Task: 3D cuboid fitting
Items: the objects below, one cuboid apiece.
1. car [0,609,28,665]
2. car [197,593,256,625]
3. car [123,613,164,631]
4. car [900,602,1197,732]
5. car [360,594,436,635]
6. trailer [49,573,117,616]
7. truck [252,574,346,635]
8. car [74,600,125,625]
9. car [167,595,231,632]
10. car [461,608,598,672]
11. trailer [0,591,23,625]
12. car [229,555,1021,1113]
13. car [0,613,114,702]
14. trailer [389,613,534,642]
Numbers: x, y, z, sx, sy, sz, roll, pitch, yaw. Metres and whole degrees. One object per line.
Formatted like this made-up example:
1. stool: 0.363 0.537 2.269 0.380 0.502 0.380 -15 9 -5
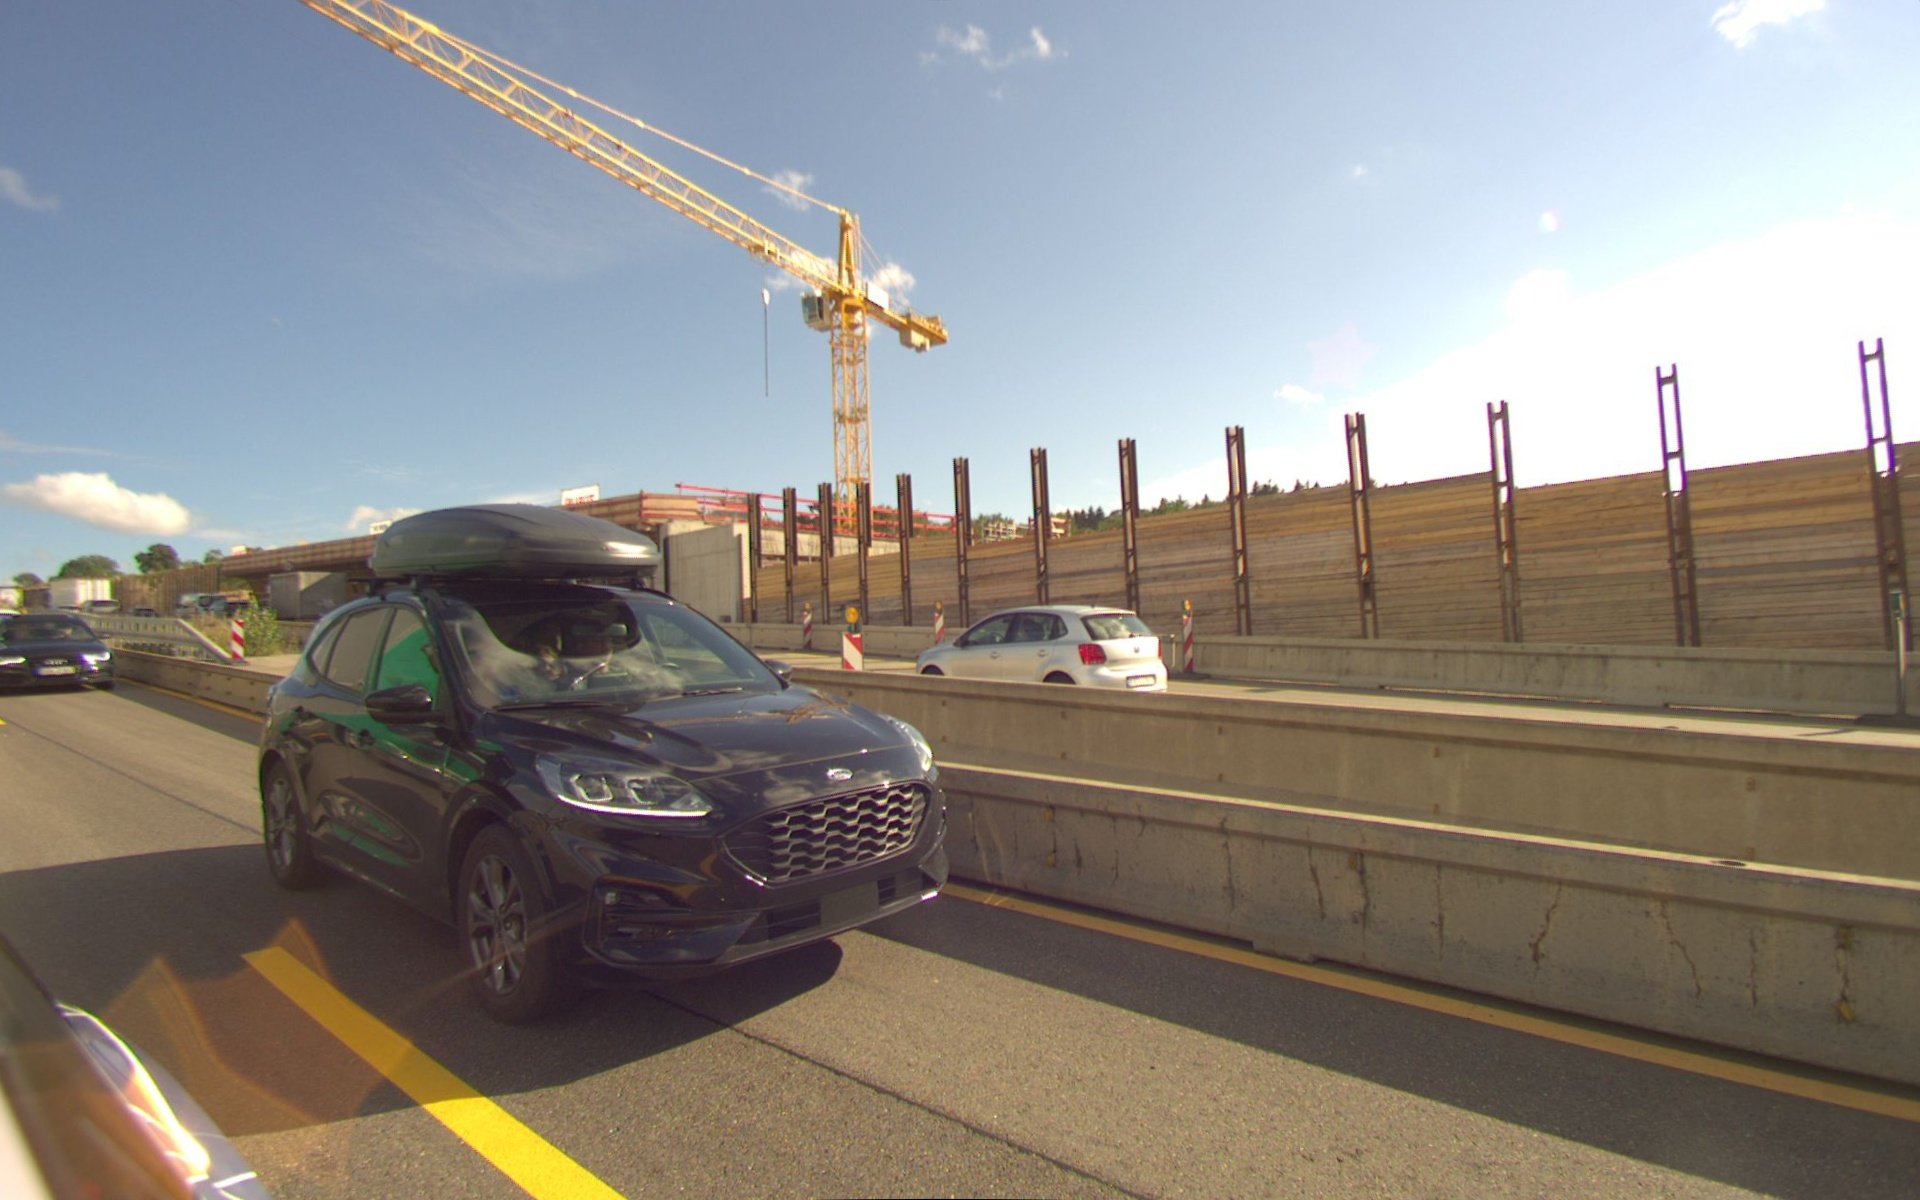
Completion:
1. car: -29.862 1.108 30.768 4.560 1.576 1.783 0 1 42
2. car: -40.564 0.507 55.947 4.750 1.648 1.832 -1 0 44
3. car: -66.094 1.773 81.886 3.997 1.282 1.900 0 1 40
4. car: 1.059 0.799 13.526 1.733 1.451 3.810 -1 0 -41
5. car: -26.705 0.642 48.009 4.447 1.817 1.971 0 1 45
6. trailer: -84.551 -0.529 97.478 13.792 3.870 2.792 0 1 40
7. truck: -38.159 0.203 58.298 7.535 3.336 2.672 0 1 42
8. car: -65.821 0.965 77.362 5.026 1.779 2.105 -1 0 39
9. car: -52.832 0.896 70.214 5.862 2.420 2.236 0 1 40
10. car: -10.929 0.960 25.523 1.830 1.451 4.565 -1 0 -41
11. trailer: -124.278 0.987 131.613 13.814 4.187 2.658 0 1 43
12. car: -1.968 0.681 4.970 4.384 1.554 1.780 -1 0 42
13. car: -18.052 1.036 19.726 4.660 1.467 1.783 0 1 42
14. trailer: -21.357 1.099 42.939 10.334 0.947 2.325 0 1 45
